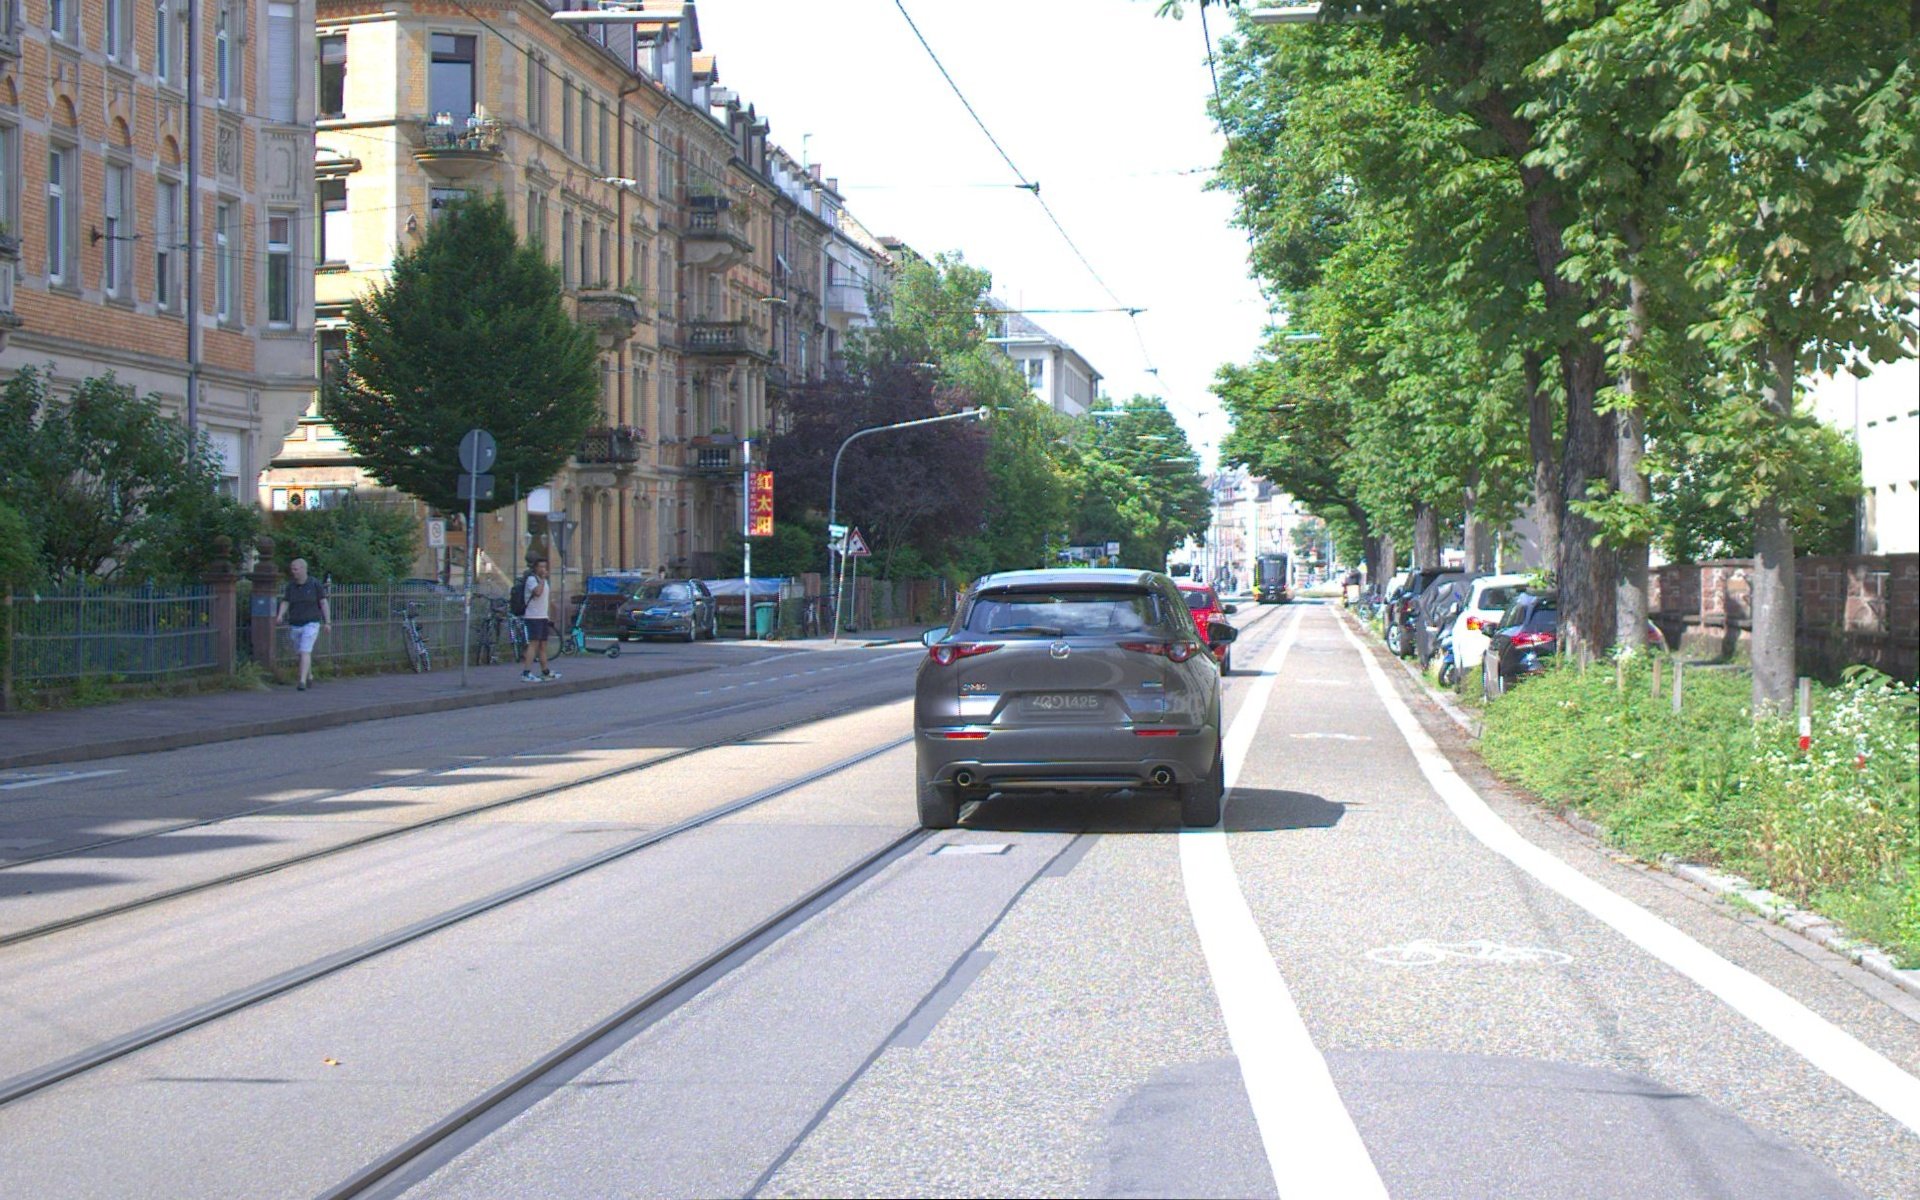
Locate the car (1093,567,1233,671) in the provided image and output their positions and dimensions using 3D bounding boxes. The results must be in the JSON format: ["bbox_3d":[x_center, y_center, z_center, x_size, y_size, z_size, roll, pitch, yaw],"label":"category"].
[{"bbox_3d":[3.269,0.284,54.622,1.994,1.523,3.999,2,0,6],"label":"car"}]

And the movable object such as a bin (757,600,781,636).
[{"bbox_3d":[-4.733,0.442,85.245,0.525,0.903,0.636,0,0,5],"label":"movable object such as a bin"}]

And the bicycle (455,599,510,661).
[{"bbox_3d":[-7.654,0.475,55.151,0.421,0.973,1.949,0,0,5],"label":"bicycle"}]

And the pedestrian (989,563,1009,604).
[{"bbox_3d":[1.634,-0.688,143.915,0.822,1.700,0.891,0,0,3],"label":"pedestrian"}]

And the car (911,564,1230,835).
[{"bbox_3d":[0.762,0.551,21.183,1.721,1.521,3.588,0,0,6],"label":"car"}]

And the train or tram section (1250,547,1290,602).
[{"bbox_3d":[21.983,-1.863,244.029,2.572,3.760,13.024,0,1,4],"label":"train or tram section"}]

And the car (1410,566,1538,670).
[{"bbox_3d":[8.491,0.269,57.094,1.863,1.647,4.636,0,0,6],"label":"car"}]

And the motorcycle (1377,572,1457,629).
[{"bbox_3d":[13.519,0.013,101.776,2.386,1.592,0.677,3,2,45],"label":"motorcycle"}]

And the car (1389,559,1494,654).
[{"bbox_3d":[9.308,0.087,66.712,1.827,1.776,4.732,0,1,6],"label":"car"}]

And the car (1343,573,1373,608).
[{"bbox_3d":[23.142,-0.558,200.062,1.721,1.962,4.206,0,0,7],"label":"car"}]

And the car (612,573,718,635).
[{"bbox_3d":[-7.104,0.090,83.202,1.686,1.454,4.763,0,0,6],"label":"car"}]

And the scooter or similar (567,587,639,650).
[{"bbox_3d":[-7.084,0.371,68.212,1.361,1.230,0.404,1,0,-22],"label":"scooter or similar"}]

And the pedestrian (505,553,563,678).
[{"bbox_3d":[-6.090,0.216,49.177,0.533,1.754,1.105,2,0,6],"label":"pedestrian"}]

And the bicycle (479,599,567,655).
[{"bbox_3d":[-7.554,0.466,59.495,1.453,0.973,0.404,0,1,6],"label":"bicycle"}]

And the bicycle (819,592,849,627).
[{"bbox_3d":[-3.421,0.261,93.318,0.530,0.943,1.967,0,0,6],"label":"bicycle"}]

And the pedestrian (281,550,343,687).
[{"bbox_3d":[-8.178,0.228,43.424,0.487,1.697,1.151,0,0,4],"label":"pedestrian"}]

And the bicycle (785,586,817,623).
[{"bbox_3d":[-4.128,0.105,89.333,0.530,0.943,1.967,0,0,6],"label":"bicycle"}]

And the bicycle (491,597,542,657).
[{"bbox_3d":[-7.409,0.438,57.445,0.421,0.973,1.949,0,0,5],"label":"bicycle"}]

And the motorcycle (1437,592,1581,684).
[{"bbox_3d":[8.048,0.551,50.438,2.007,1.332,0.747,0,0,2],"label":"motorcycle"}]

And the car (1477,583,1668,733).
[{"bbox_3d":[6.591,0.583,37.339,1.661,1.516,4.287,0,0,5],"label":"car"}]

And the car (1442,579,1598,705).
[{"bbox_3d":[7.424,0.520,45.889,1.742,1.575,4.248,0,0,5],"label":"car"}]

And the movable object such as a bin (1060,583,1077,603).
[{"bbox_3d":[5.476,-0.342,173.695,0.745,0.984,1.114,2,0,6],"label":"movable object such as a bin"}]

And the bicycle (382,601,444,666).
[{"bbox_3d":[-8.065,0.481,50.737,0.421,0.929,1.949,0,0,5],"label":"bicycle"}]
